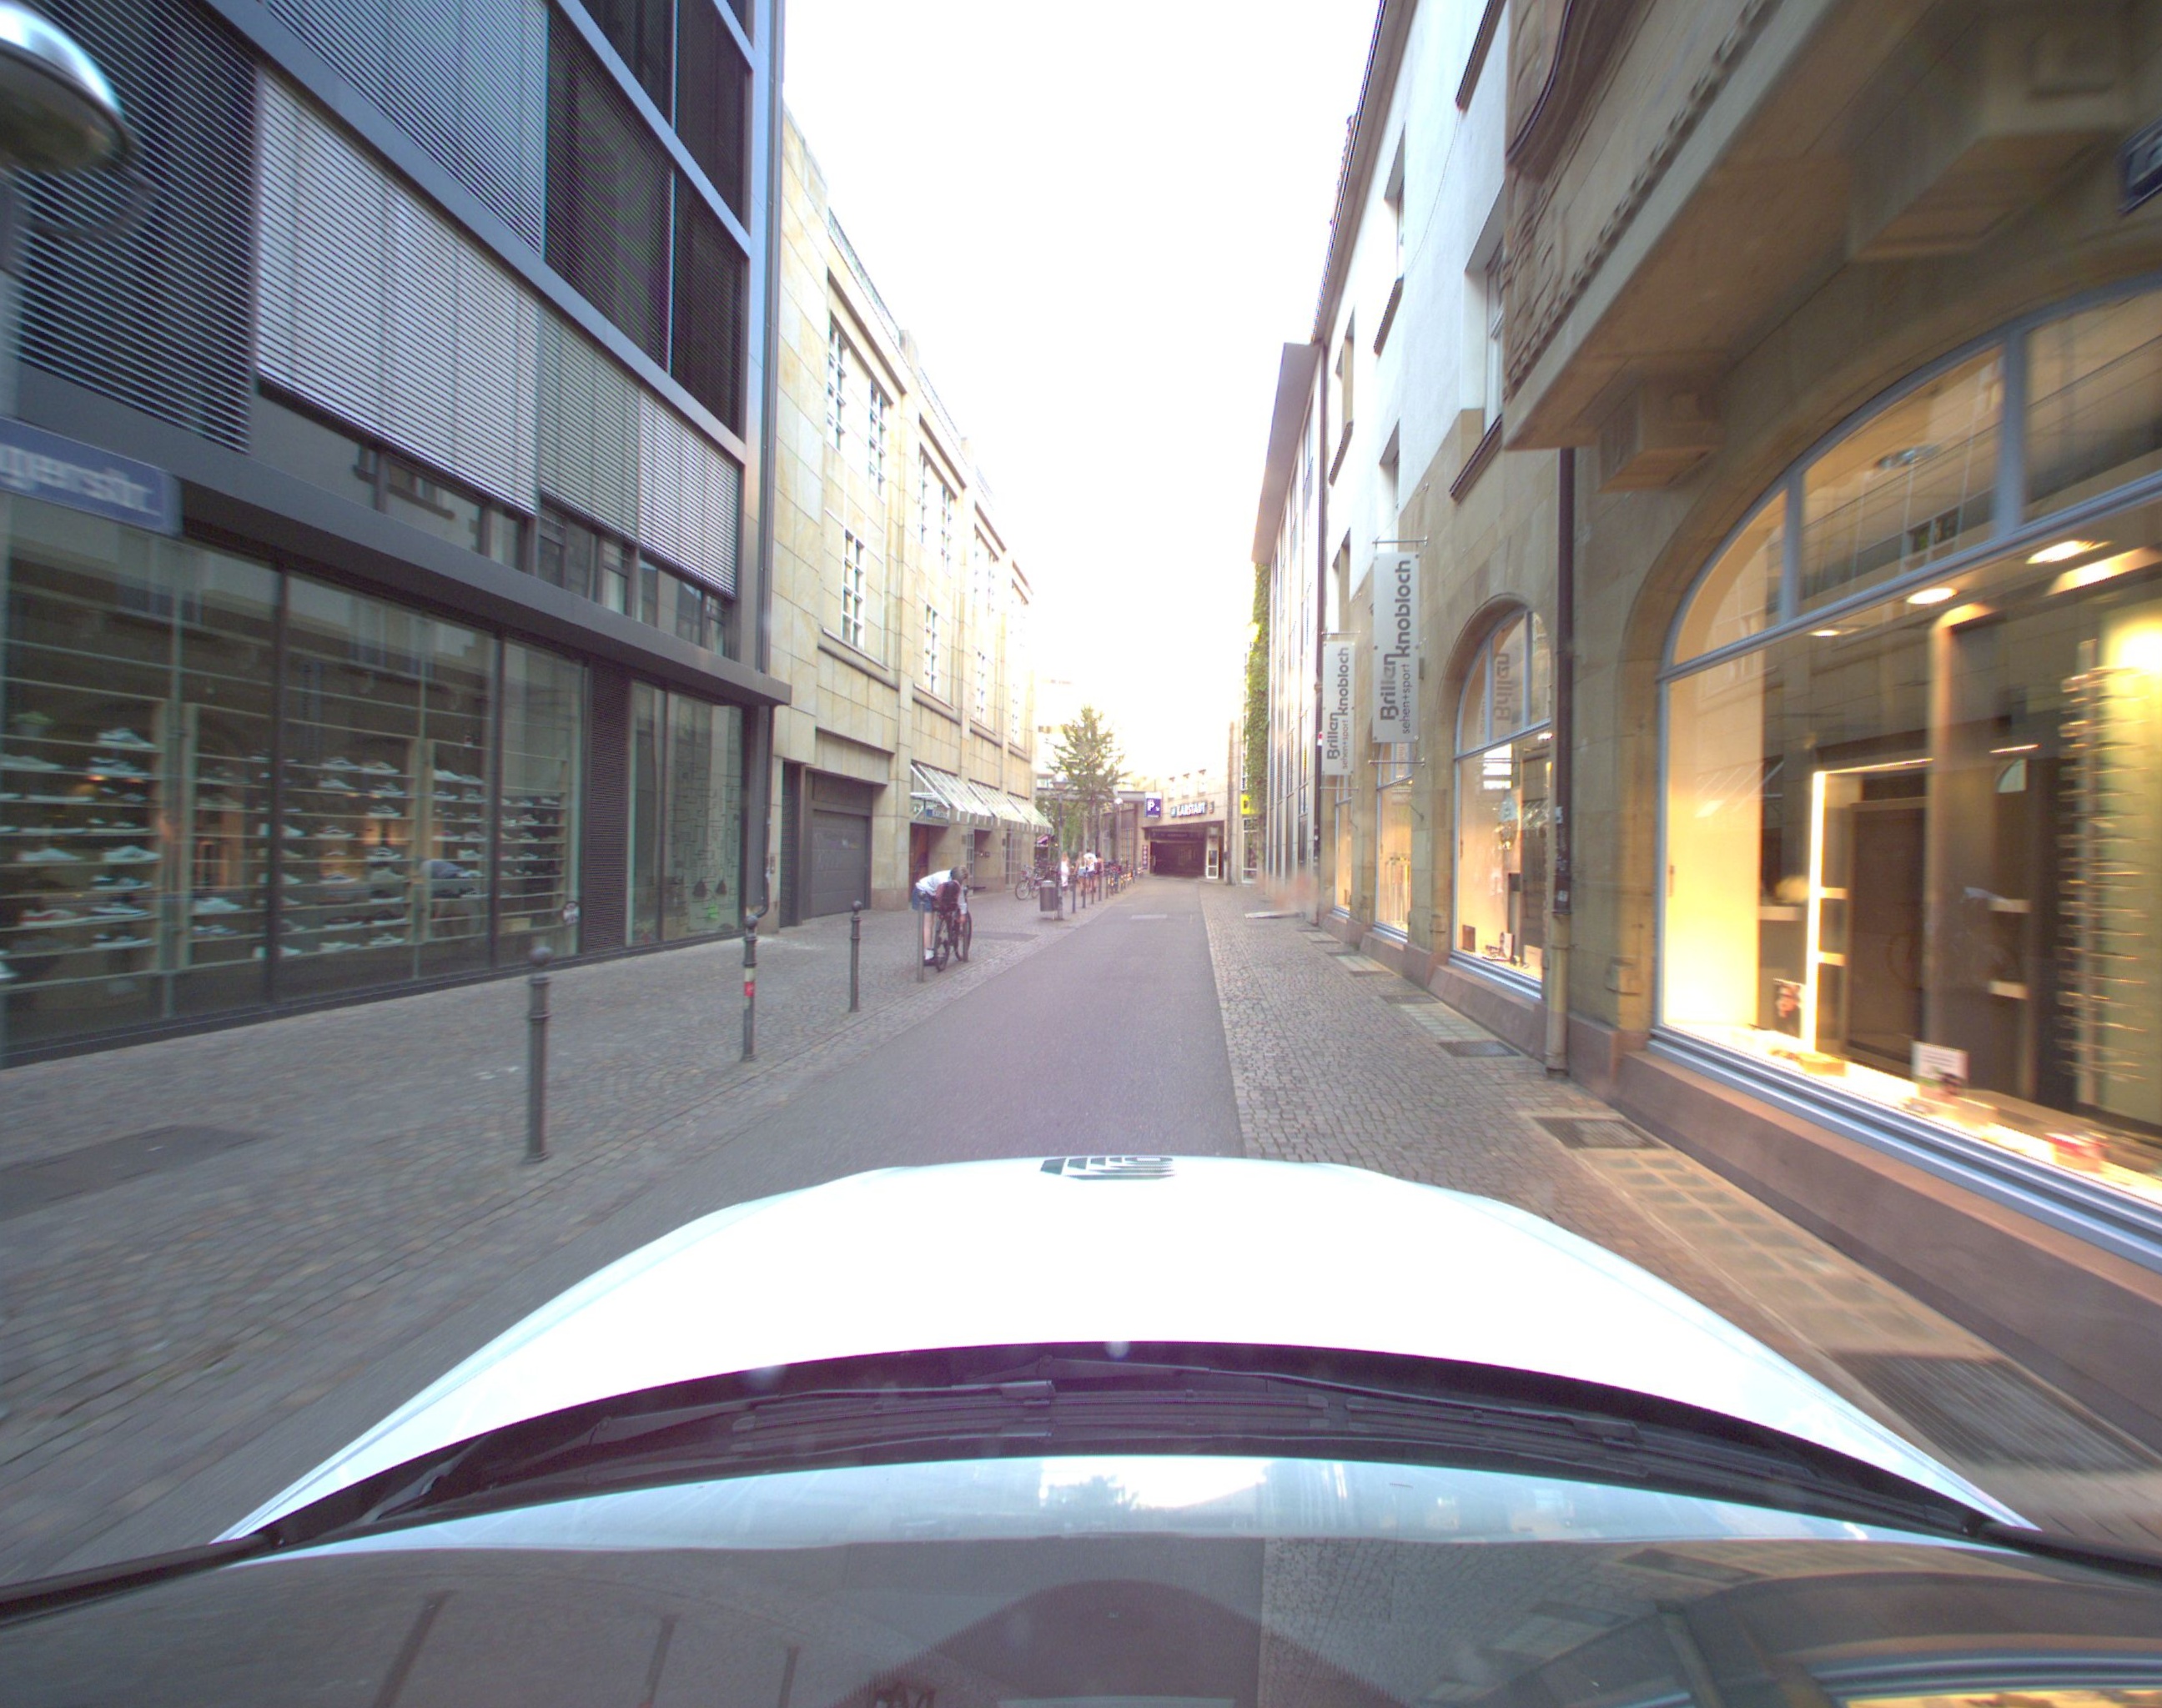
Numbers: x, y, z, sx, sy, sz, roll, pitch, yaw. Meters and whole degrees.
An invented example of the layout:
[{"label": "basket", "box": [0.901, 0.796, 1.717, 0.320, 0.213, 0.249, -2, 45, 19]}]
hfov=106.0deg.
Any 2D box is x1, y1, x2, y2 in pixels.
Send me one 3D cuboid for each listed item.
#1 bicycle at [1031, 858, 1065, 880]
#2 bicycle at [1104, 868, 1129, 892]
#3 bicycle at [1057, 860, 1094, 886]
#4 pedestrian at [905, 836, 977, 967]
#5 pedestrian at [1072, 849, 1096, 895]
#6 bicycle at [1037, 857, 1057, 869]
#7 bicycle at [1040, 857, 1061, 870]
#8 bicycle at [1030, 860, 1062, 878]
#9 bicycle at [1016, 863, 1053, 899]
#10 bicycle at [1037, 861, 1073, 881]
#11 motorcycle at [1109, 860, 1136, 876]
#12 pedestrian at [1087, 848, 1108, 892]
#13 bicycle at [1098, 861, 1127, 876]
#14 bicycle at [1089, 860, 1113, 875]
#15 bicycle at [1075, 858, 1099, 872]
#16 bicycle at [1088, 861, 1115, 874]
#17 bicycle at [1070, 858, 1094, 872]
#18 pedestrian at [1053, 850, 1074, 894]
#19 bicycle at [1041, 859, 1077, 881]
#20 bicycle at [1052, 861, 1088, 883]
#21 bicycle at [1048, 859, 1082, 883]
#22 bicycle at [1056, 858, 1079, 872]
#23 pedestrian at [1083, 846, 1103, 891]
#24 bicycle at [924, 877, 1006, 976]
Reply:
[{"label": "bicycle", "box": [-1.840, 0.823, 45.373, 1.837, 1.225, 0.531, 0, 0, -16]}, {"label": "bicycle", "box": [1.511, 1.074, 34.116, 0.488, 0.939, 1.668, 2, 0, 22]}, {"label": "bicycle", "box": [-0.287, 0.947, 40.823, 1.769, 1.231, 0.531, 0, 0, -16]}, {"label": "pedestrian", "box": [-1.911, 0.630, 11.198, 0.764, 1.718, 0.593, 2, 0, 7]}, {"label": "pedestrian", "box": [0.112, 0.680, 31.284, 0.802, 1.729, 0.950, 1, 0, 6]}, {"label": "bicycle", "box": [-3.240, 0.841, 77.378, 1.775, 1.190, 0.584, 0, 0, -14]}, {"label": "bicycle", "box": [-2.667, 0.860, 71.846, 1.774, 1.114, 0.541, 0, 0, -11]}, {"label": "bicycle", "box": [-2.105, 0.903, 49.221, 1.880, 1.043, 0.531, 0, 0, -16]}, {"label": "bicycle", "box": [-1.554, 0.892, 27.595, 0.517, 1.138, 1.774, 0, 0, 24]}, {"label": "bicycle", "box": [-1.413, 0.909, 44.642, 1.897, 1.052, 0.531, 0, 0, -16]}, {"label": "motorcycle", "box": [2.670, 0.892, 52.675, 1.665, 1.050, 0.461, 0, 0, -14]}, {"label": "pedestrian", "box": [0.682, 0.668, 34.223, 0.781, 1.795, 0.974, 0, 0, 7]}, {"label": "bicycle", "box": [2.095, 0.950, 54.451, 1.850, 0.982, 0.461, 0, 0, -14]}, {"label": "bicycle", "box": [1.392, 0.932, 56.351, 1.541, 1.049, 0.573, 0, 0, -13]}, {"label": "bicycle", "box": [0.487, 0.848, 62.333, 1.775, 1.114, 0.540, 0, 0, -14]}, {"label": "bicycle", "box": [1.415, 0.920, 55.390, 1.775, 0.904, 0.461, 0, 0, -14]}, {"label": "bicycle", "box": [0.080, 0.832, 63.421, 1.775, 1.114, 0.540, 0, 0, -14]}, {"label": "pedestrian", "box": [-0.673, 0.699, 31.563, 0.671, 1.664, 0.861, 1, 0, 5]}, {"label": "bicycle", "box": [-1.204, 0.876, 44.083, 1.876, 1.177, 0.531, 0, 0, -16]}, {"label": "bicycle", "box": [-0.605, 0.935, 43.050, 1.840, 1.122, 0.531, 0, 0, -16]}, {"label": "bicycle", "box": [-0.832, 0.877, 42.177, 1.657, 1.231, 0.531, 0, 0, -16]}, {"label": "bicycle", "box": [-1.062, 0.902, 65.831, 1.775, 1.114, 0.540, 0, 0, -14]}, {"label": "pedestrian", "box": [0.501, 0.575, 32.992, 0.738, 1.822, 0.879, 0, 0, 6]}, {"label": "bicycle", "box": [-1.551, 0.936, 11.166, 0.530, 1.153, 1.919, 2, 0, 9]}]
